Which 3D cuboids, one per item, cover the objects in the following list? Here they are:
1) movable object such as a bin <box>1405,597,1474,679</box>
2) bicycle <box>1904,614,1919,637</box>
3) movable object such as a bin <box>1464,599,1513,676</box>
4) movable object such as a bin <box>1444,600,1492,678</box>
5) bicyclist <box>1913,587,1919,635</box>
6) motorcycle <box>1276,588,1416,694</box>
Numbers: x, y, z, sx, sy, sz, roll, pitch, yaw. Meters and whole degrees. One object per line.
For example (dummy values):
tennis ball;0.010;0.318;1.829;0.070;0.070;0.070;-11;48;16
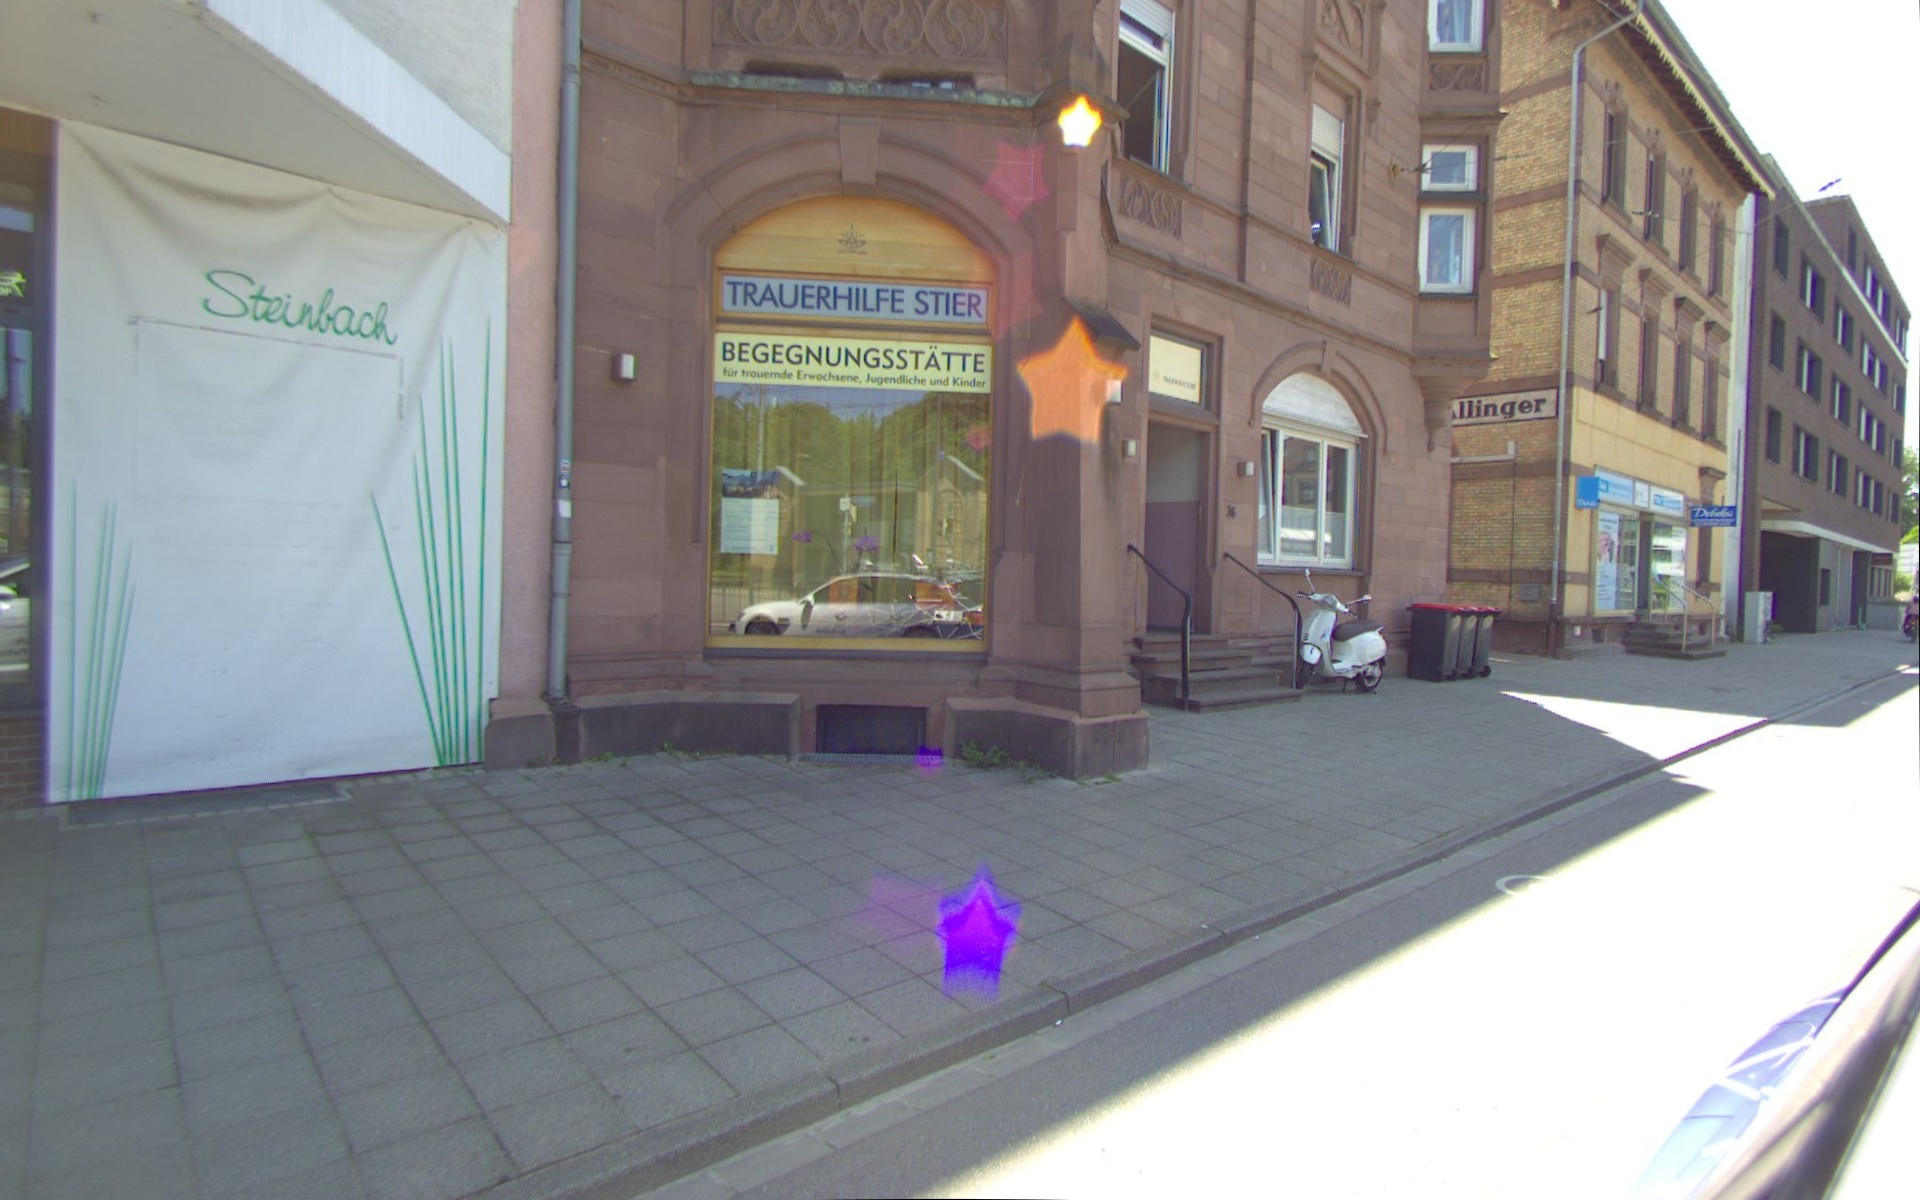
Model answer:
movable object such as a bin;6.681;0.516;14.104;0.549;1.061;0.649;0;4;-42
bicycle;35.236;0.929;36.740;1.868;0.807;0.692;1;1;-23
movable object such as a bin;7.680;0.534;14.703;0.646;1.061;0.376;0;4;-42
movable object such as a bin;7.207;0.542;14.361;0.549;1.061;0.376;0;4;-42
bicyclist;35.398;0.418;36.826;0.909;1.744;0.673;1;1;-23
motorcycle;4.545;0.454;11.862;1.843;1.163;0.529;1;1;-33
